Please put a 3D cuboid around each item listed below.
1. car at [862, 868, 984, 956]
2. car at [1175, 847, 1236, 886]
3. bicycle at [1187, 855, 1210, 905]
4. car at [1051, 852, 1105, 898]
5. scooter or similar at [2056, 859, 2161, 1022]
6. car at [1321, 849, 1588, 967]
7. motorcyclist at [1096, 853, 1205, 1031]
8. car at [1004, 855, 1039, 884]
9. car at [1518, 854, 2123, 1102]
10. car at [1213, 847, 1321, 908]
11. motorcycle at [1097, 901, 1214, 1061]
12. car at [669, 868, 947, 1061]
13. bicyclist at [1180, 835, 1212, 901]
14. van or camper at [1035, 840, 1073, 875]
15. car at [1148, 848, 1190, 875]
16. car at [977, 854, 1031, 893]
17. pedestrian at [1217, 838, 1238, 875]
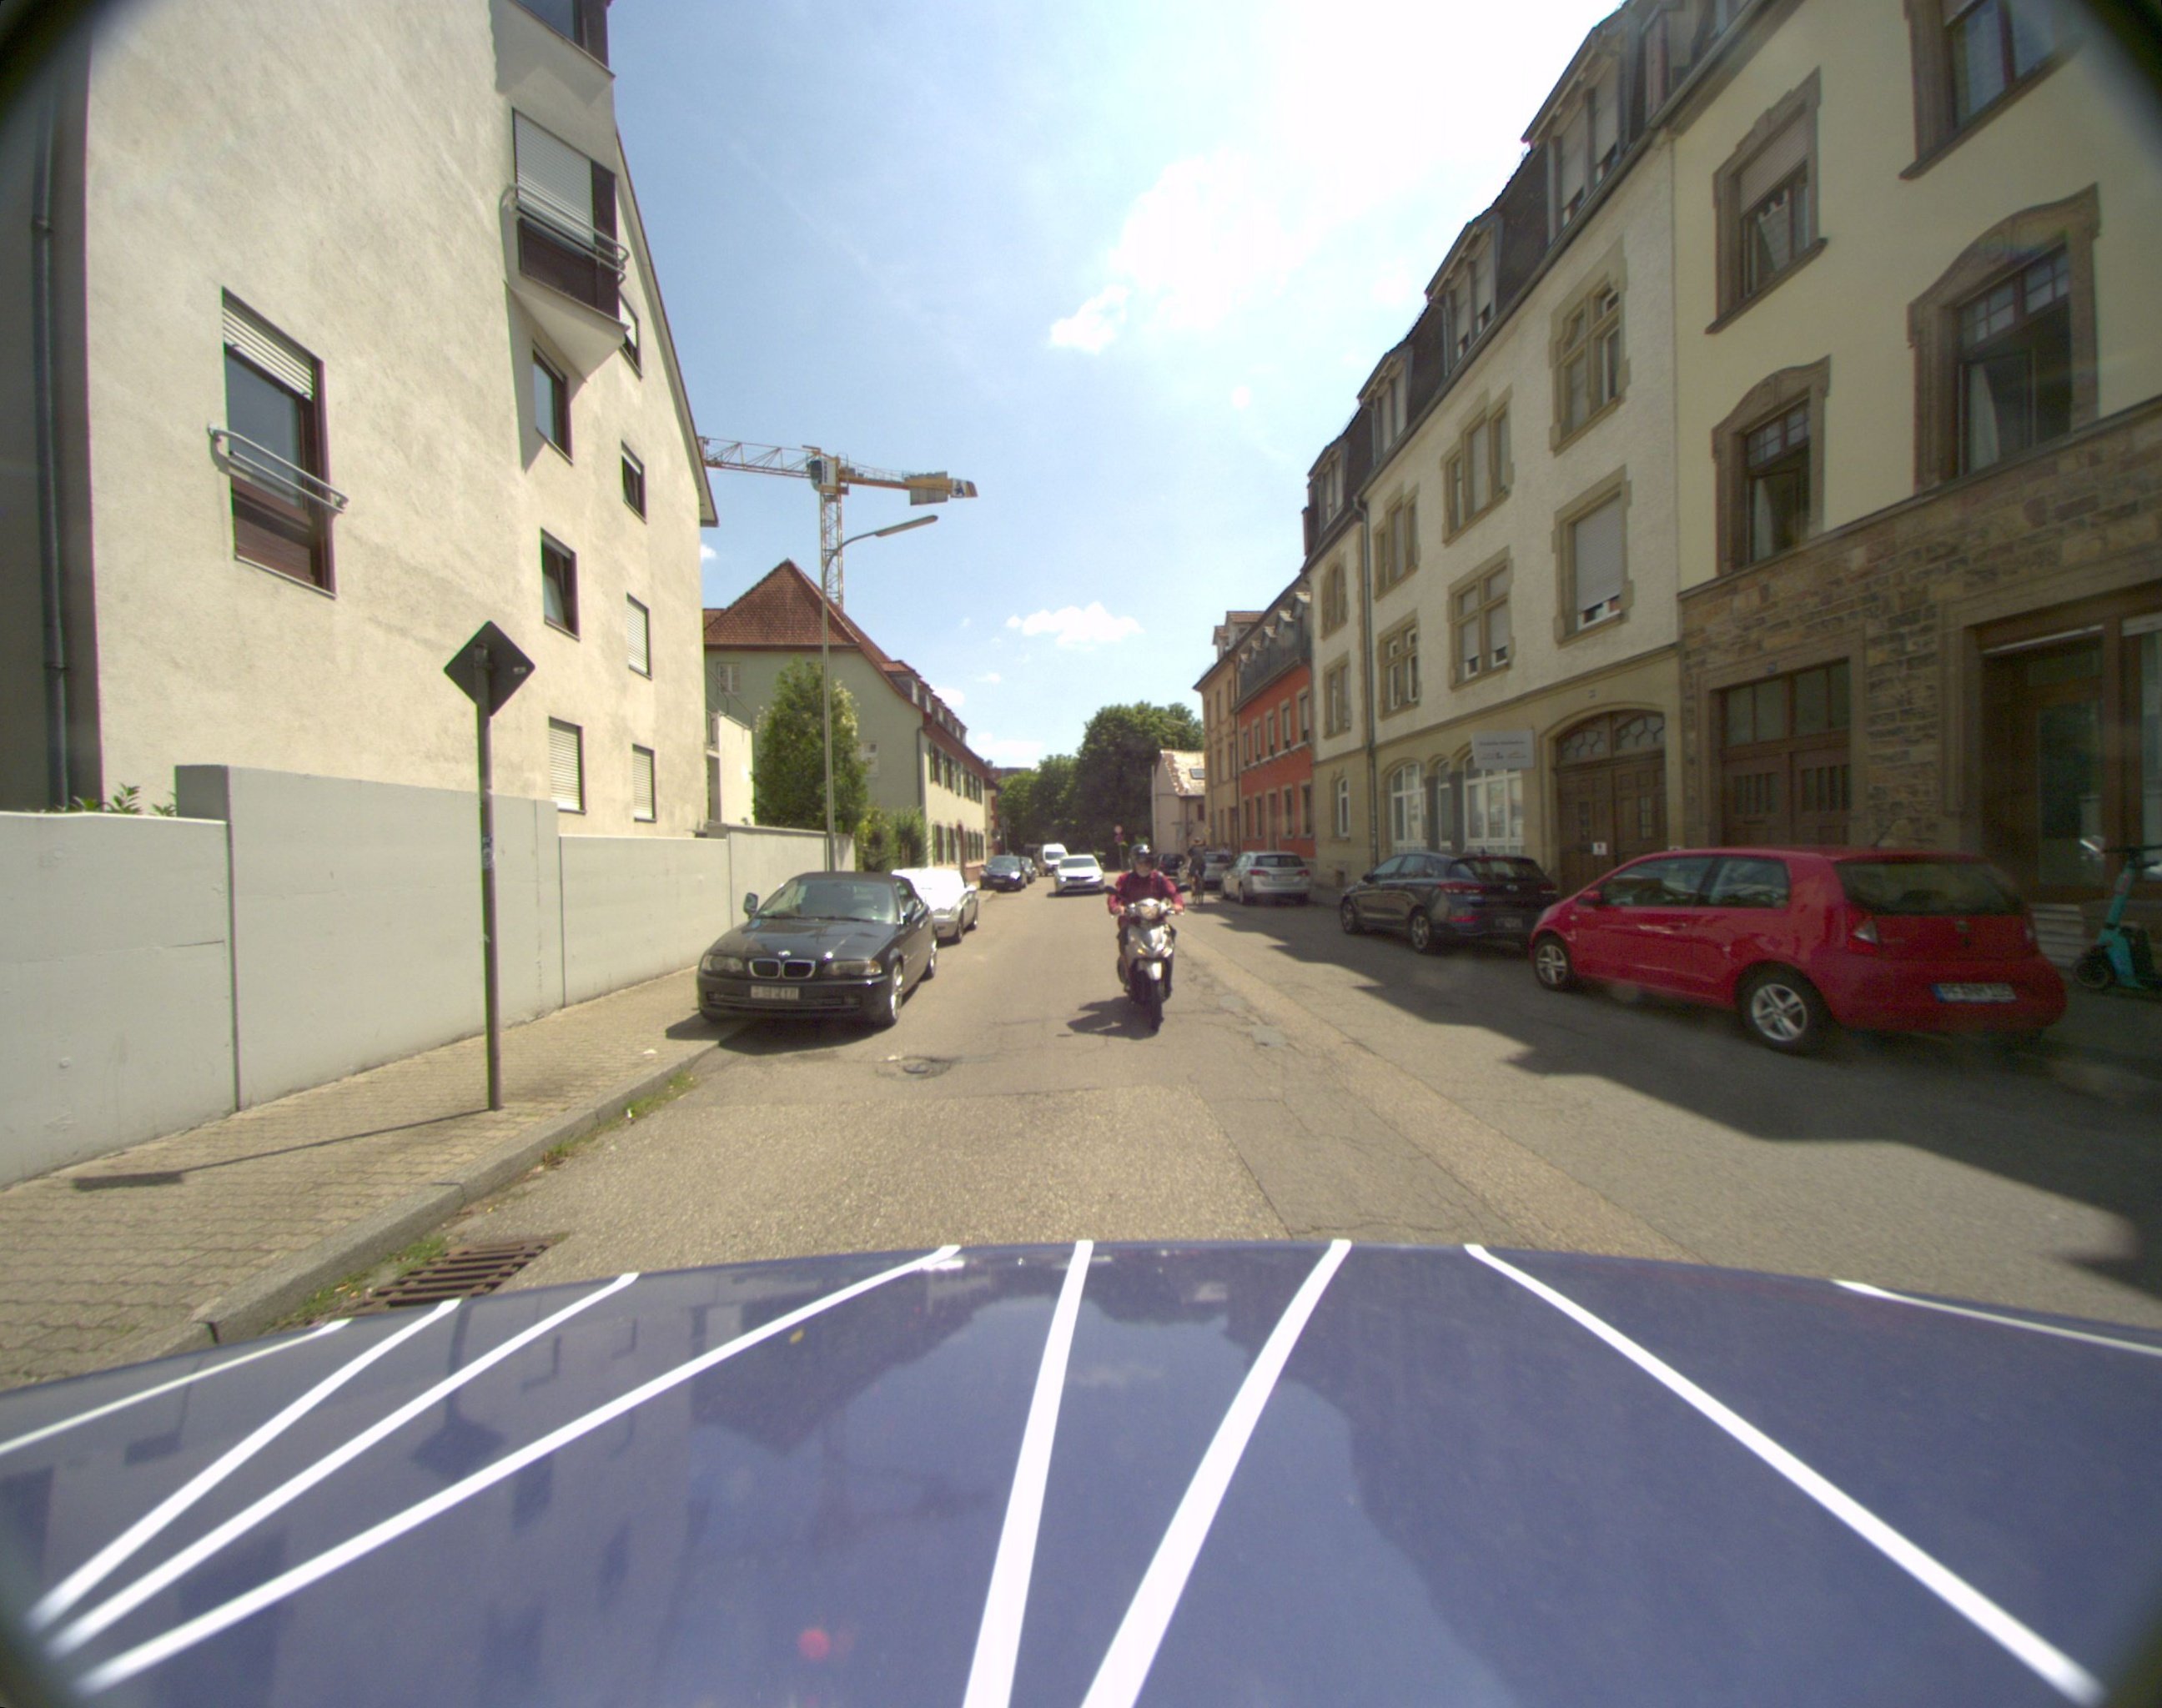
[{"bbox_3d":[-2.900,1.009,14.679,1.589,1.346,3.821,0,1,-1],"label":"car"},{"bbox_3d":[4.898,0.463,30.378,1.715,1.451,3.852,0,1,-2],"label":"car"},{"bbox_3d":[3.214,0.695,20.916,0.229,1.268,1.882,1,1,-3],"label":"bicycle"},{"bbox_3d":[-0.188,0.734,28.612,1.812,1.512,3.998,-2,1,-2],"label":"car"},{"bbox_3d":[8.345,0.663,5.687,0.375,1.213,1.319,-1,1,-2],"label":"scooter or similar"},{"bbox_3d":[5.426,0.673,11.755,1.877,1.430,4.217,-2,1,-3],"label":"car"},{"bbox_3d":[0.591,0.733,6.825,0.793,1.432,1.020,-3,1,-2],"label":"motorcyclist"},{"bbox_3d":[-3.323,0.831,43.073,1.651,1.489,3.999,-2,1,0],"label":"car"},{"bbox_3d":[5.548,0.755,6.399,1.603,1.434,3.493,-1,1,-3],"label":"car"},{"bbox_3d":[5.148,0.574,21.682,1.883,1.502,4.380,-2,1,-1],"label":"car"},{"bbox_3d":[0.595,1.043,6.857,0.760,1.049,1.991,-3,1,-2],"label":"motorcycle"},{"bbox_3d":[-2.568,0.930,8.255,1.661,1.368,4.237,-1,1,-3],"label":"car"},{"bbox_3d":[3.157,0.369,20.918,0.643,1.752,1.167,0,1,-3],"label":"bicyclist"},{"bbox_3d":[-1.953,0.222,53.735,2.000,2.274,5.139,-2,1,-9],"label":"van or camper"},{"bbox_3d":[4.901,0.386,42.688,1.732,1.434,3.856,-2,1,-2],"label":"car"},{"bbox_3d":[-3.312,0.797,33.386,1.851,1.506,4.000,-2,1,1],"label":"car"},{"bbox_3d":[7.151,0.135,37.207,0.770,1.761,0.763,-4,1,-2],"label":"pedestrian"}]
